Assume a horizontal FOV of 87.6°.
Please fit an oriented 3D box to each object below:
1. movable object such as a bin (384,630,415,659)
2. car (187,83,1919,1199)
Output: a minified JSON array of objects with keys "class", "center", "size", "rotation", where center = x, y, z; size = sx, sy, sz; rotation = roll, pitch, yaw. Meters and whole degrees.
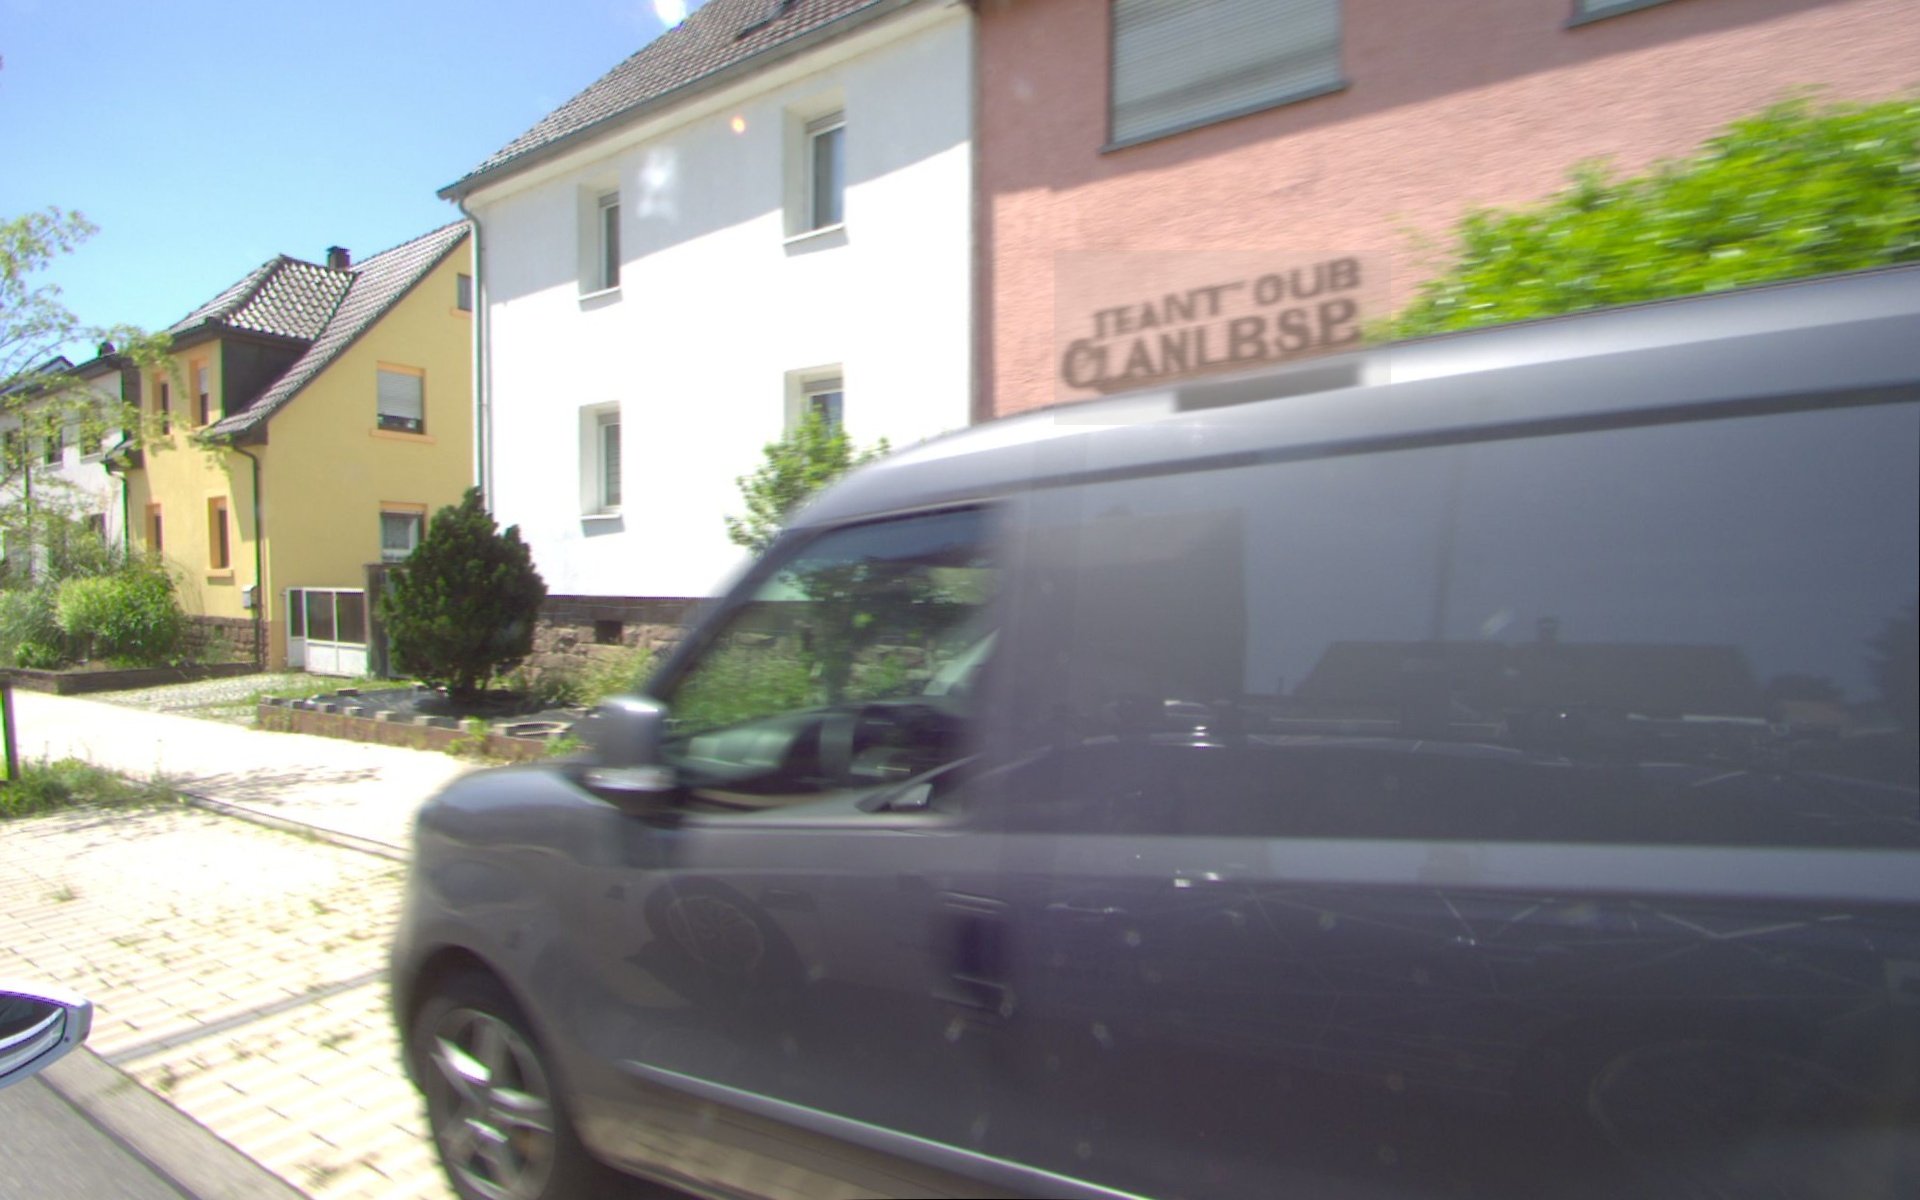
[{"class":"movable object such as a bin","center":[-11.681,0.925,20.874],"size":[0.370,0.579,0.452],"rotation":[0,-1,36]},{"class":"car","center":[0.394,0.512,2.188],"size":[4.604,1.867,1.850],"rotation":[0,1,33]}]
